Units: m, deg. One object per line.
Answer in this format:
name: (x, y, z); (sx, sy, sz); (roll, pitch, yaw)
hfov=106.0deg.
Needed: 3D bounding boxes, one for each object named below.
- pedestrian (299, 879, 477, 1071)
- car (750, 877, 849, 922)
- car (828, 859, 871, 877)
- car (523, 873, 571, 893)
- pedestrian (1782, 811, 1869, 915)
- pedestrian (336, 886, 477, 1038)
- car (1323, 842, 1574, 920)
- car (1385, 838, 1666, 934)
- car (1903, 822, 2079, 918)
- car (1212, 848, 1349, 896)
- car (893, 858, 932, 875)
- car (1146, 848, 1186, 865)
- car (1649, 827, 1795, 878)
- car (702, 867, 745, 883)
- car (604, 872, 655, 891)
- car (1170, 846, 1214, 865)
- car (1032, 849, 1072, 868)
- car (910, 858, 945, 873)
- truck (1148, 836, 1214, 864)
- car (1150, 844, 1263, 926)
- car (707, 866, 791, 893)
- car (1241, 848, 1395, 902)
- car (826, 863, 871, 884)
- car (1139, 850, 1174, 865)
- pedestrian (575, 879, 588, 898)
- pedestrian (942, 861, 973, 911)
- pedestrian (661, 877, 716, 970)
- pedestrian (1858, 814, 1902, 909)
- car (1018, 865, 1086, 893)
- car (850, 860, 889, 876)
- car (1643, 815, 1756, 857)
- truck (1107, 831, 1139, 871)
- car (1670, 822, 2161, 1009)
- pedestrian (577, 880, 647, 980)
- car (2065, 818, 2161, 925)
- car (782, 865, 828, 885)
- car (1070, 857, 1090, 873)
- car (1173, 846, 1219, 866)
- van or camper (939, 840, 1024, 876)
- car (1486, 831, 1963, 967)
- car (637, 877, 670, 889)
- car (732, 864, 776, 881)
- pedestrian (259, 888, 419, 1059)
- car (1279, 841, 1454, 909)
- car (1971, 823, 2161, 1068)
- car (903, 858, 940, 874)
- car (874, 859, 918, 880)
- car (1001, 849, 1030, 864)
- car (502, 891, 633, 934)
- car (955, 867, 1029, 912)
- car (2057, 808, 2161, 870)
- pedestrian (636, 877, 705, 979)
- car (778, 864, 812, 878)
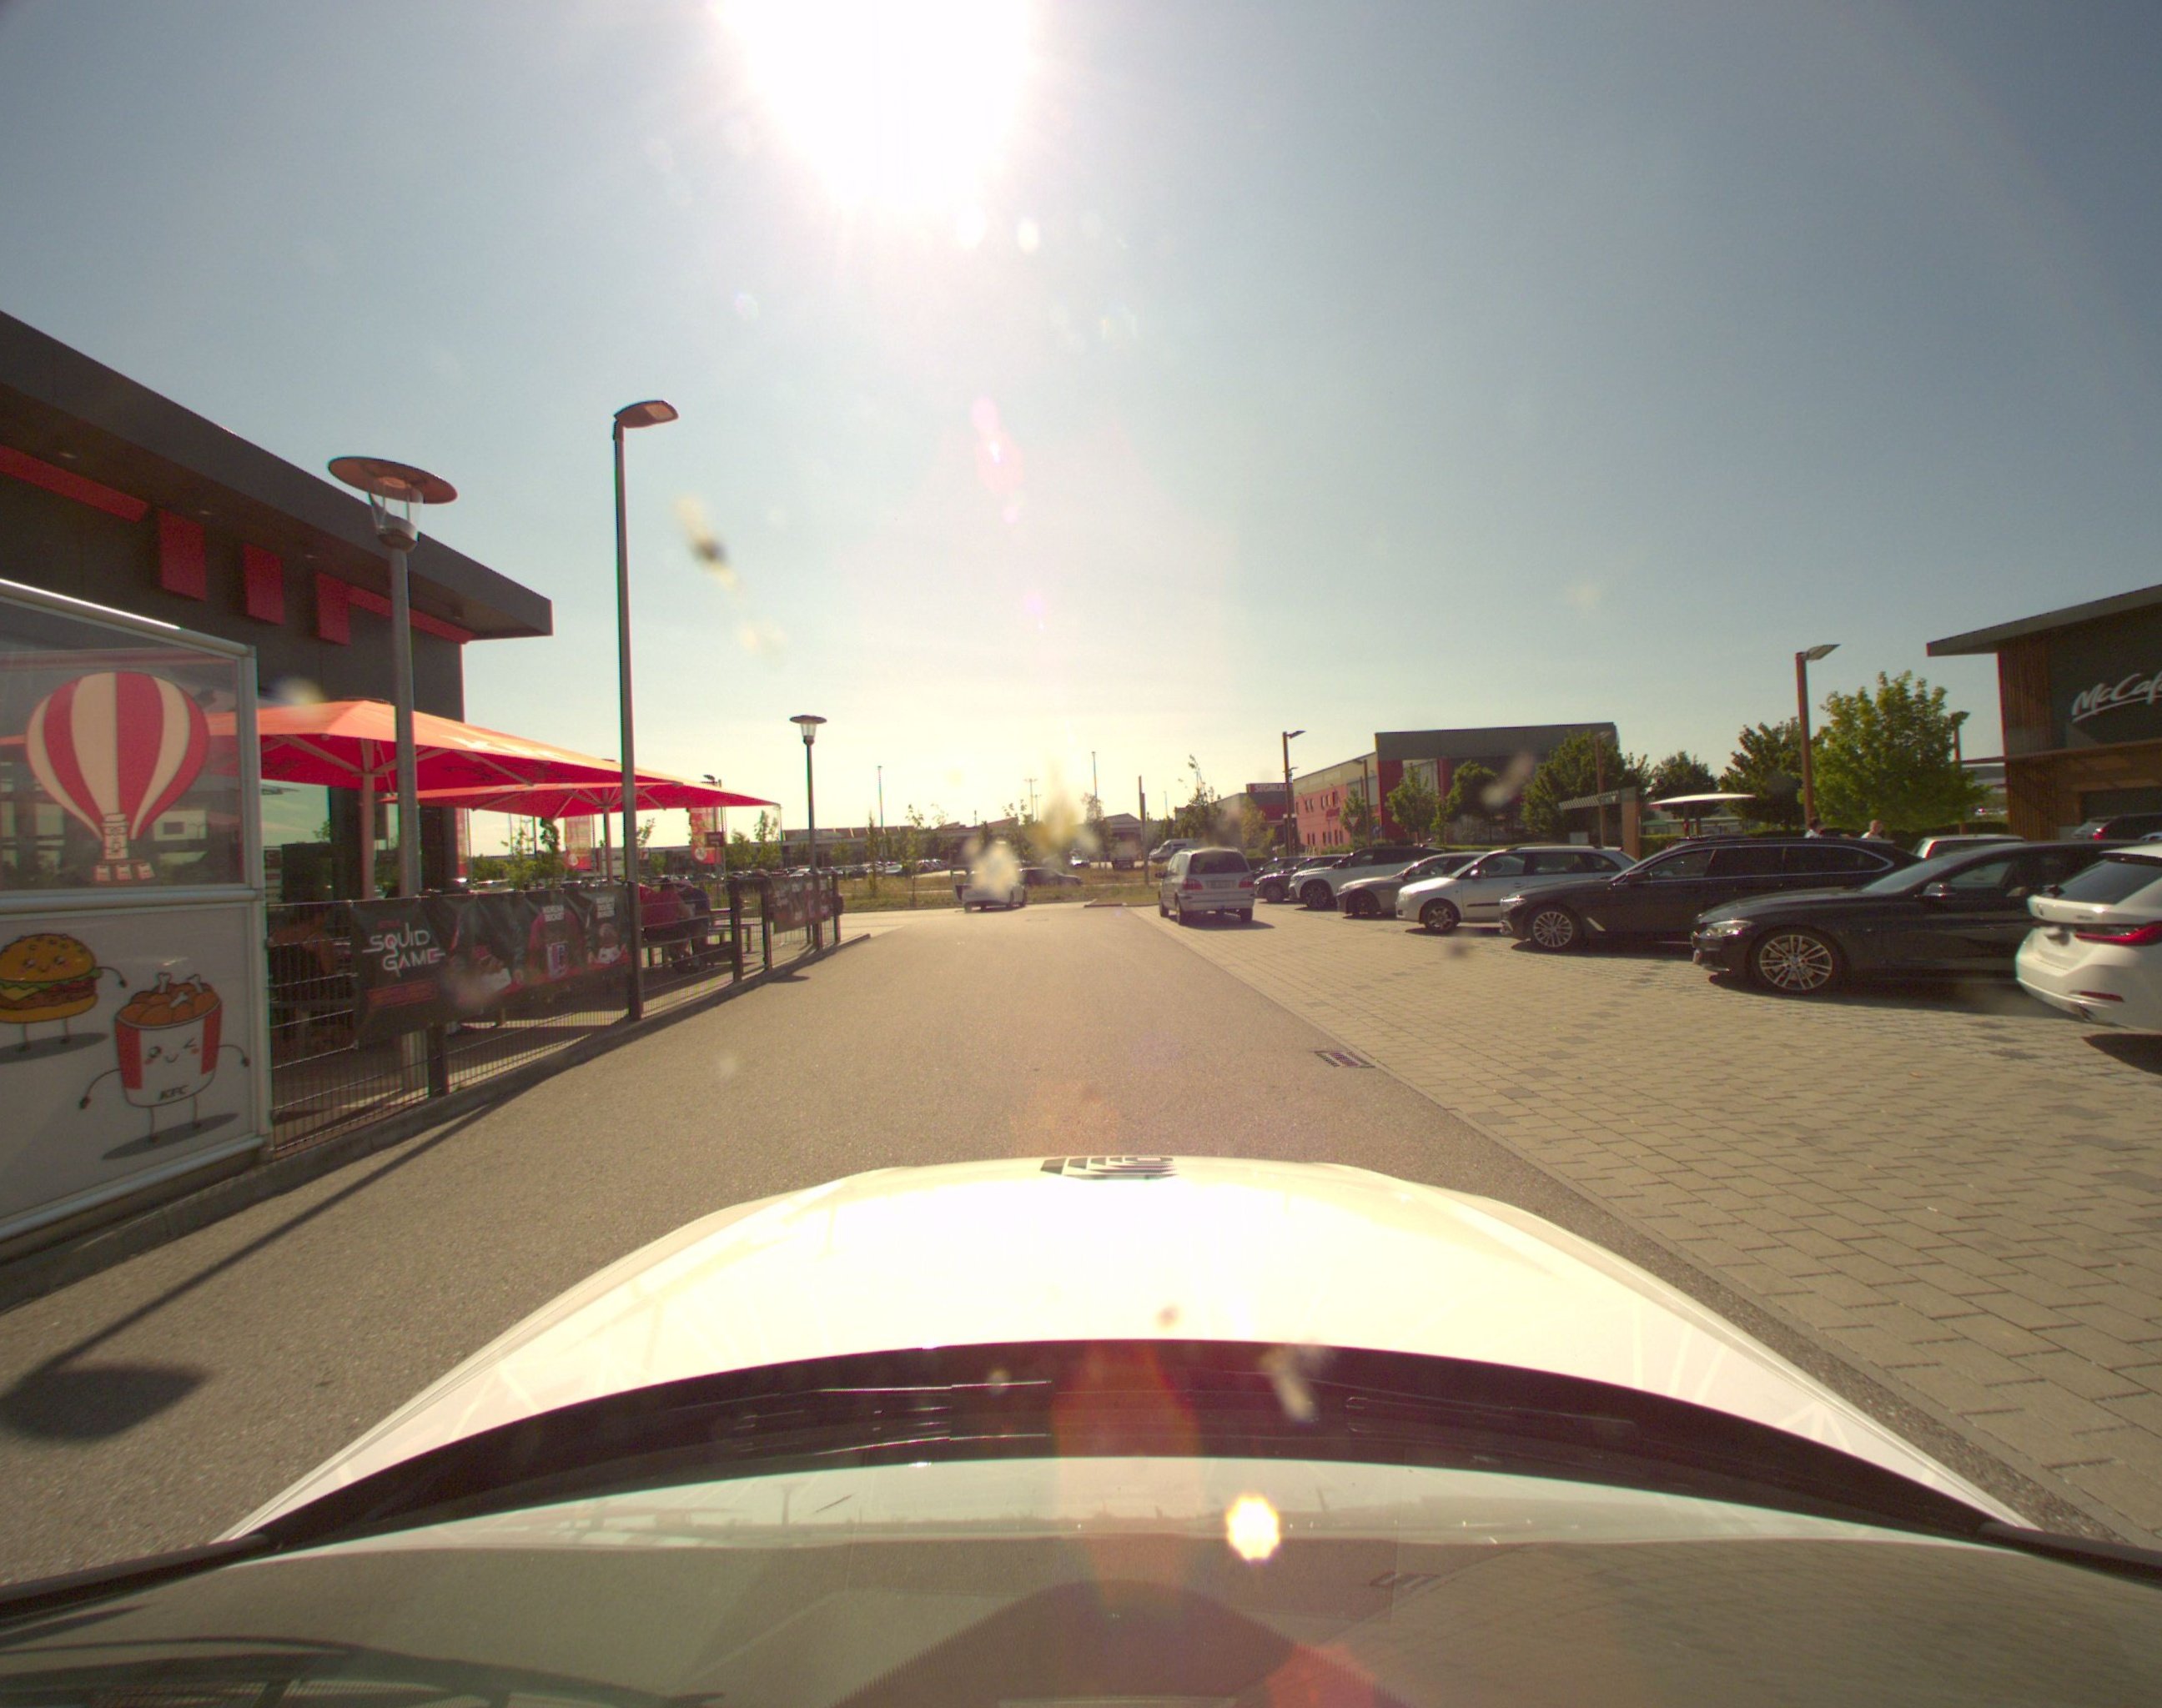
pedestrian: (-5.452, 0.916, 6.453); (0.660, 1.387, 0.809); (-2, -1, 6)
car: (-10.637, 1.683, 31.135); (1.818, 1.469, 4.360); (-3, -2, 6)
car: (-26.657, 1.585, 93.807); (4.380, 1.855, 1.953); (-2, 0, -3)
car: (-60.784, 3.287, 92.732); (1.976, 2.013, 4.111); (-2, 0, 21)
pedestrian: (13.760, 0.160, 15.073); (0.767, 1.849, 0.832); (-2, -1, -6)
pedestrian: (-6.222, 0.968, 7.542); (0.660, 1.304, 0.713); (-2, -1, 6)
car: (8.153, 0.607, 18.248); (4.783, 1.526, 1.988); (-2, -1, 35)
car: (7.878, 0.567, 14.782); (4.154, 1.526, 1.987); (-2, 0, 27)
car: (16.286, 0.238, 14.780); (1.690, 1.493, 4.140); (-3, -1, 43)
car: (7.108, 0.664, 29.229); (4.277, 1.526, 1.988); (-2, 0, 41)
car: (-20.938, 1.564, 101.400); (4.380, 1.855, 1.953); (-2, 0, -3)
car: (10.132, 0.284, 97.197); (4.380, 1.855, 1.953); (-2, 0, -3)
car: (24.494, -0.061, 31.176); (4.219, 1.691, 1.992); (-3, 0, -8)
car: (-48.713, 2.839, 111.005); (4.912, 2.013, 2.077); (-2, 0, -7)
car: (-48.971, 2.962, 88.456); (1.977, 1.846, 4.754); (-2, 0, 18)
car: (12.015, 0.161, 87.955); (4.380, 1.855, 1.953); (-2, 0, -3)
car: (-3.212, 0.464, 89.089); (4.244, 1.855, 1.868); (-2, 0, -3)
car: (-20.645, 1.601, 109.742); (4.380, 1.855, 1.953); (-2, 0, -3)
truck: (11.122, -0.416, 90.685); (7.019, 2.814, 1.953); (-2, -1, -3)
car: (2.996, 0.711, 20.518); (1.823, 1.748, 4.677); (-3, -1, -3)
car: (-24.034, 1.857, 59.085); (5.188, 1.731, 1.989); (-2, 0, 1)
car: (7.394, 0.675, 25.530); (4.152, 1.526, 1.988); (-2, -1, 34)
car: (-22.735, 1.917, 79.904); (1.933, 1.855, 4.427); (-2, 0, 21)
car: (10.186, 0.465, 110.123); (4.380, 1.855, 1.953); (-2, 0, -3)
pedestrian: (-41.364, 2.837, 67.445); (0.659, 1.556, 0.629); (-2, -1, 23)
pedestrian: (-4.704, 1.214, 31.029); (0.988, 1.809, 0.726); (-3, -2, 0)
pedestrian: (-5.676, 0.988, 11.801); (0.613, 1.273, 0.620); (-2, -1, -19)
pedestrian: (15.224, 0.140, 15.524); (0.461, 1.768, 0.556); (-2, -1, 35)
car: (-1.752, 1.518, 49.651); (3.972, 1.495, 1.677); (-2, 0, 1)
car: (-26.425, 1.769, 101.858); (4.380, 1.855, 1.953); (-2, 0, -3)
car: (35.638, -1.002, 47.017); (5.076, 2.197, 1.998); (-2, -1, -2)
truck: (3.897, -0.256, 75.814); (2.748, 3.480, 6.837); (-2, 0, 3)
car: (8.289, 0.501, 7.694); (4.313, 1.459, 1.848); (-2, -1, 37)
pedestrian: (-6.322, 1.008, 11.008); (0.685, 1.273, 0.547); (-2, -1, -19)
car: (17.298, 0.188, 12.769); (1.790, 1.515, 4.140); (-3, -1, 43)
car: (-27.568, 2.059, 81.551); (1.976, 1.855, 4.308); (-2, 0, 21)
car: (-0.101, 1.000, 76.232); (1.643, 1.459, 3.969); (-2, 0, 2)
car: (11.670, 0.252, 82.778); (4.380, 1.855, 1.953); (-2, 0, -3)
van or camper: (-9.453, 0.441, 76.971); (7.951, 3.101, 2.434); (-2, -1, 30)
car: (8.401, 0.552, 11.162); (4.721, 1.486, 1.988); (-2, -1, 39)
car: (-57.800, 3.904, 110.162); (3.463, 1.552, 1.662); (-2, 0, -8)
car: (-40.314, 2.275, 100.493); (4.548, 1.855, 1.953); (-2, 0, -3)
pedestrian: (-6.148, 0.961, 6.779); (0.660, 1.304, 0.688); (-2, -1, 6)
car: (7.735, 0.574, 22.091); (4.154, 1.654, 1.987); (-2, -1, 28)
car: (8.422, 0.477, 4.460); (4.525, 1.459, 1.848); (-2, -1, 39)
car: (-20.326, 1.556, 103.881); (4.380, 1.855, 1.953); (-2, 0, -3)
car: (-17.678, 1.496, 78.221); (1.933, 1.855, 4.427); (-2, 0, 21)
car: (-9.542, 0.329, 118.504); (3.974, 2.013, 2.000); (-2, 0, 0)
car: (-20.356, 2.272, 32.546); (1.724, 1.413, 4.614); (-3, -1, 10)
car: (-3.226, 1.289, 30.320); (1.818, 1.469, 4.487); (-3, -2, 5)
car: (30.023, -0.455, 21.925); (4.409, 1.602, 1.975); (-2, -1, 37)
pedestrian: (-5.515, 0.972, 10.990); (0.685, 1.273, 0.836); (-2, -1, -19)
car: (-42.493, 2.474, 120.967); (4.380, 1.855, 1.953); (-2, 0, -3)
